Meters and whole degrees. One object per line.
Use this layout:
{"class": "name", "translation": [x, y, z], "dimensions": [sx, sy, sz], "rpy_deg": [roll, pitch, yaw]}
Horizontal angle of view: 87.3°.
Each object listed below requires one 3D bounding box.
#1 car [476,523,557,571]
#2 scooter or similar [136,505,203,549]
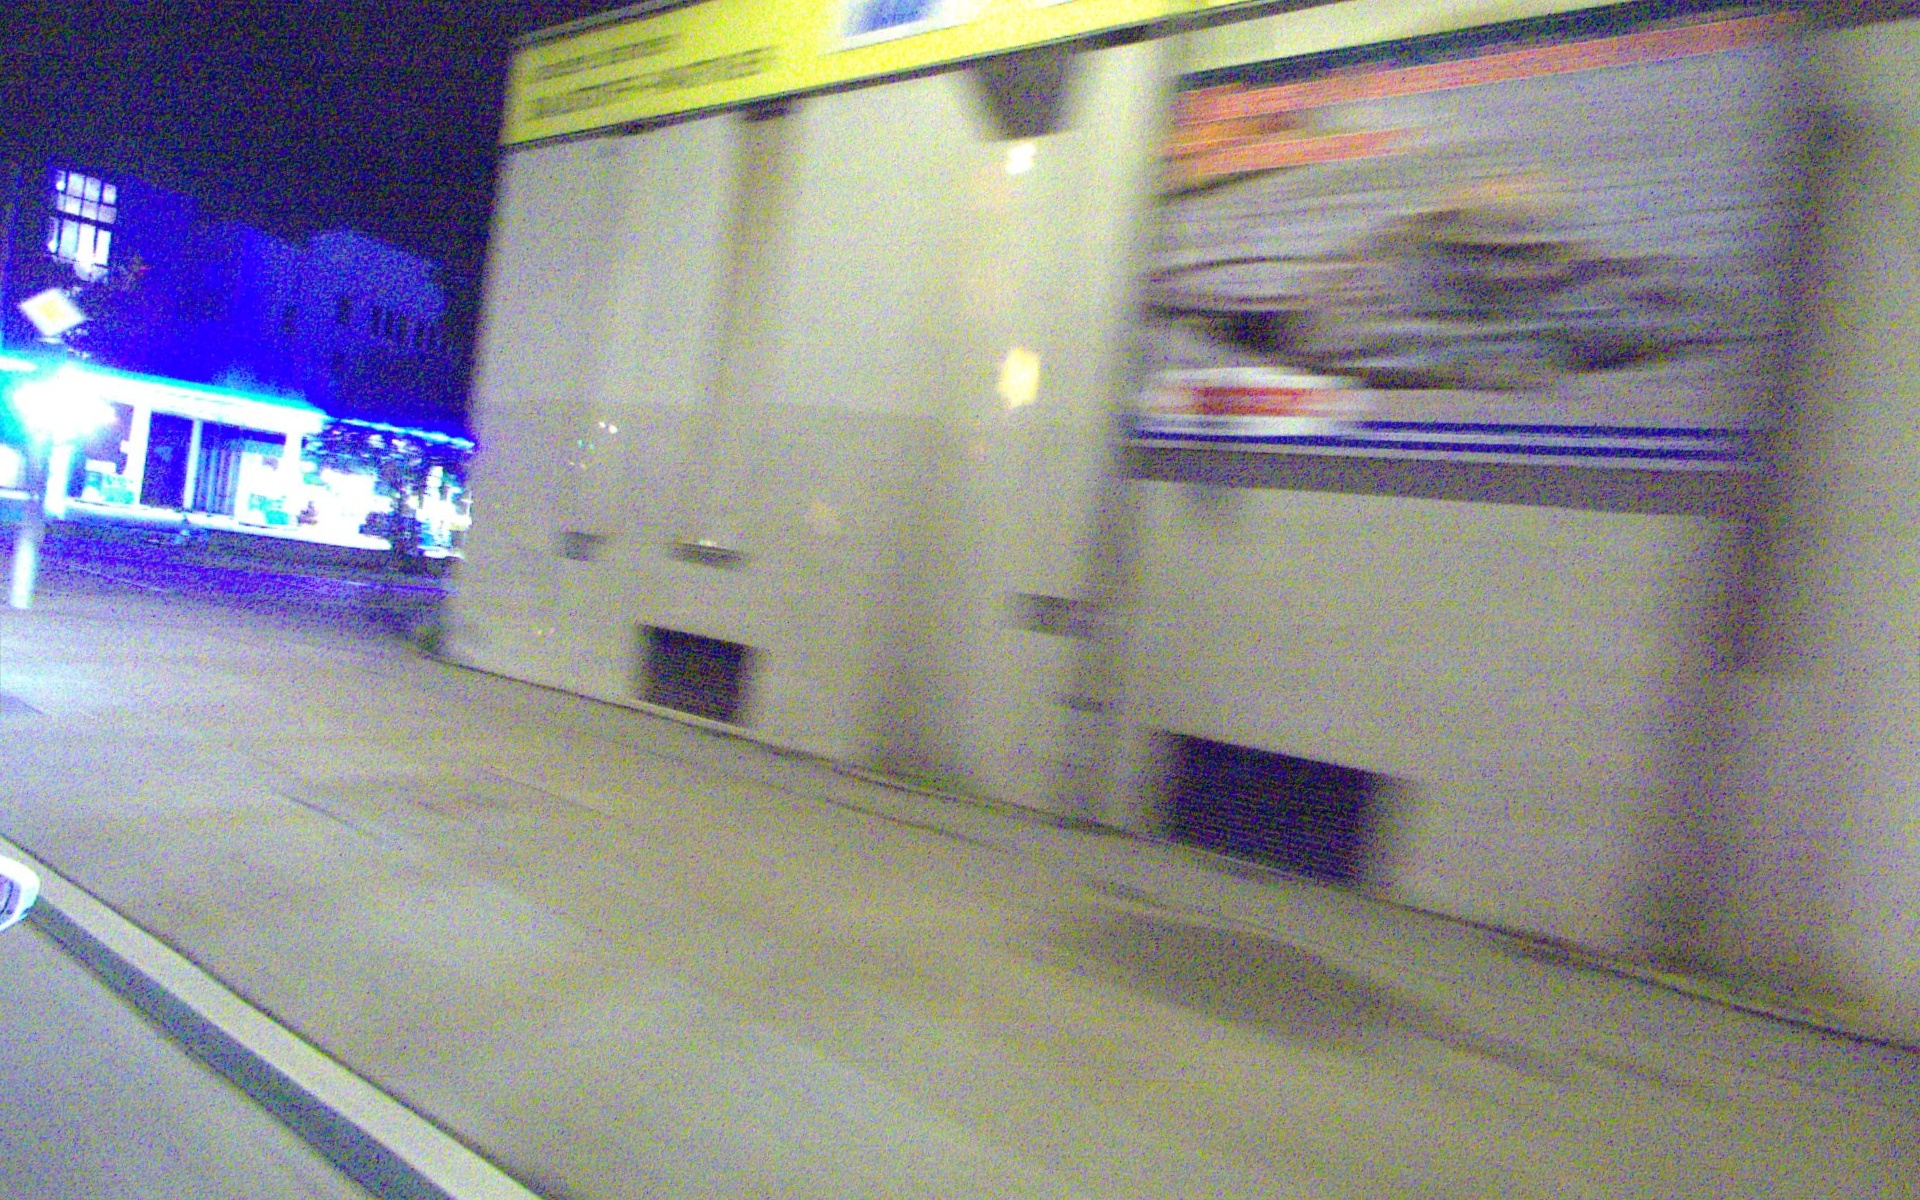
{"class": "car", "translation": [-24.031, -2.888, 54.462], "dimensions": [4.182, 1.791, 1.995], "rpy_deg": [11, 2, 35]}
{"class": "scooter or similar", "translation": [-23.654, -2.167, 30.135], "dimensions": [0.704, 1.105, 1.678], "rpy_deg": [8, 1, -6]}
